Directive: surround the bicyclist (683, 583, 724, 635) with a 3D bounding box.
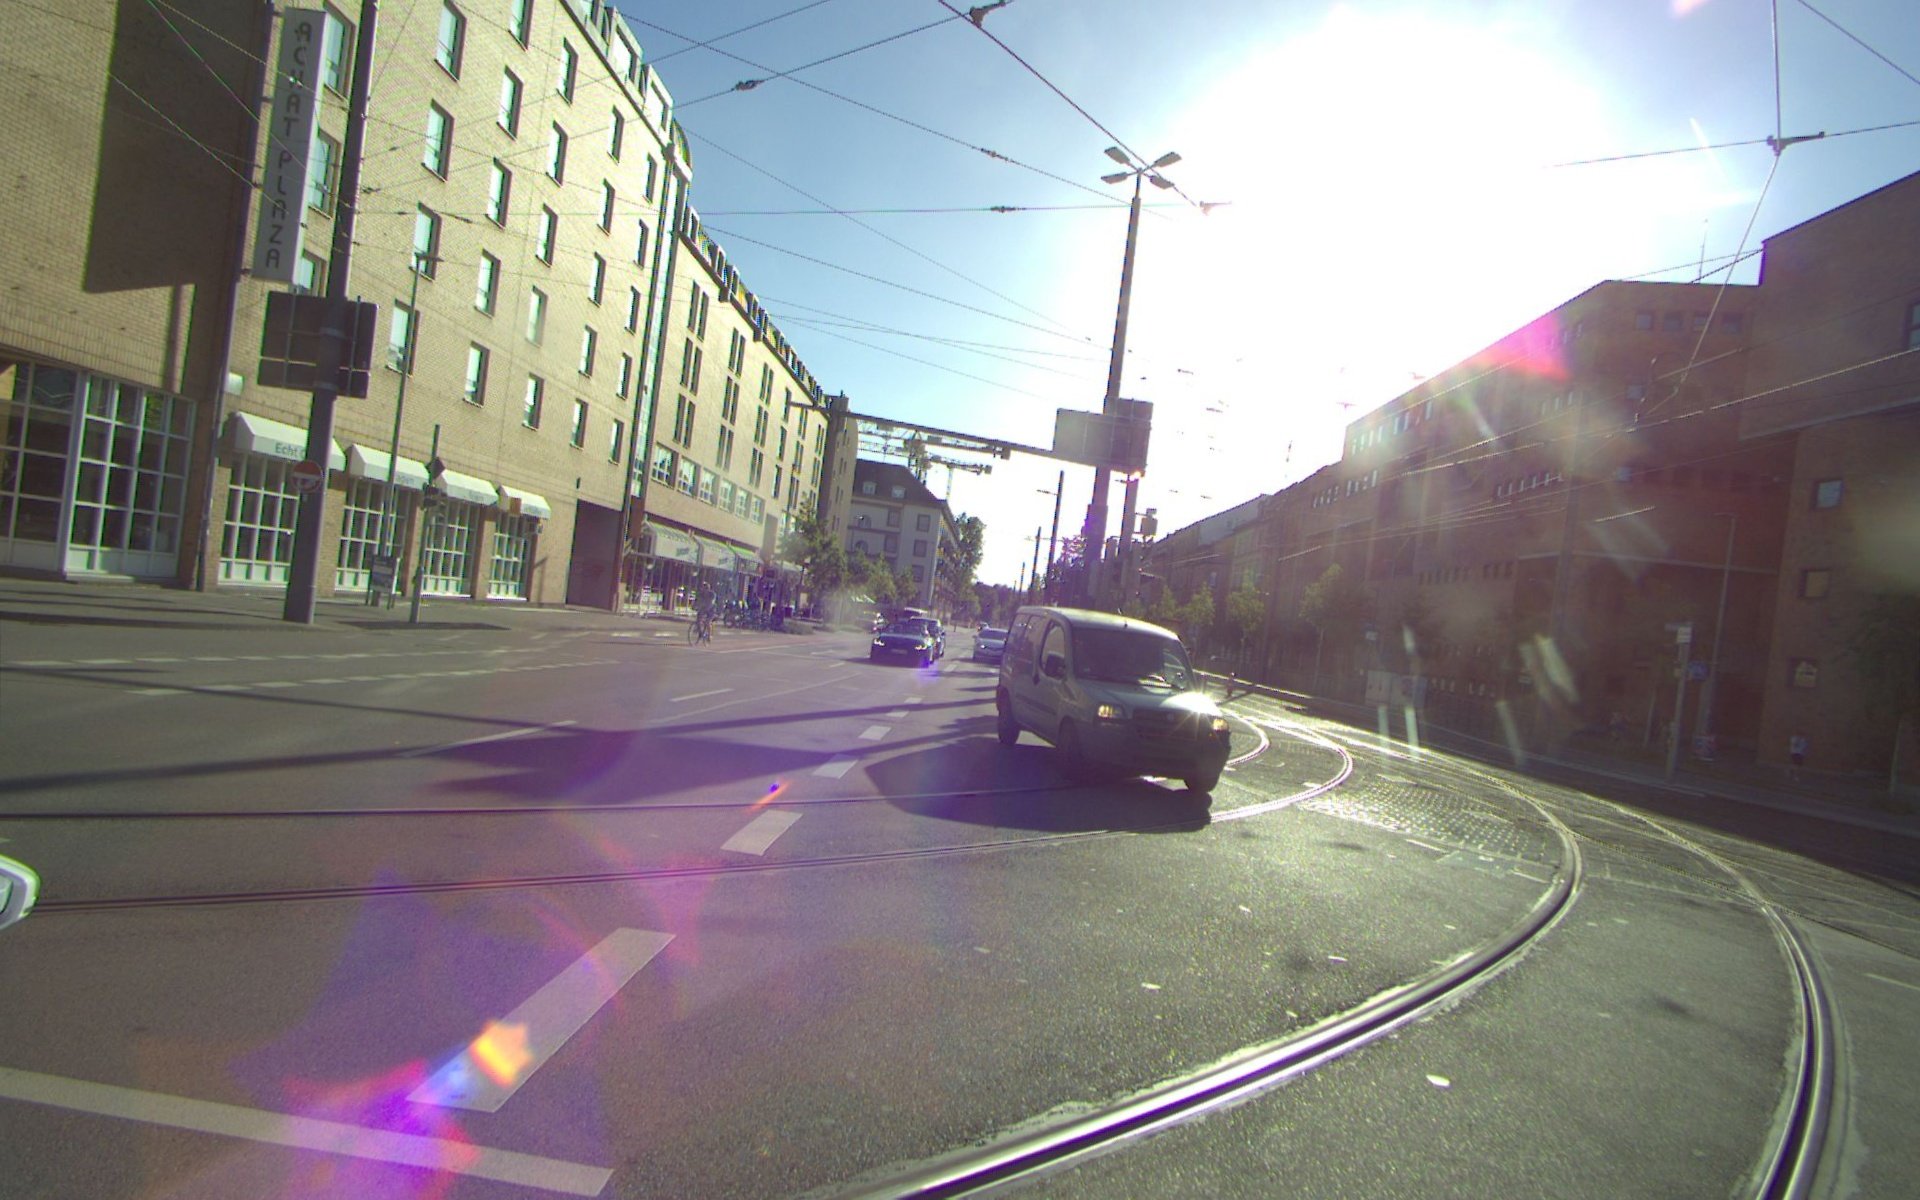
[{"bbox_3d":[-7.403,0.257,29.048,0.797,1.393,0.926,7,0,1],"label":"bicyclist"}]

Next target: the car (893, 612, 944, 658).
[{"bbox_3d":[-1.675,1.441,41.986,1.810,1.631,4.232,6,-2,0],"label":"car"}]

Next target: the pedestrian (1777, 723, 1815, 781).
[{"bbox_3d":[28.333,5.153,34.095,0.539,1.809,0.573,7,2,5],"label":"pedestrian"}]

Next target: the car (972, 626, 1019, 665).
[{"bbox_3d":[1.515,1.970,43.996,1.810,1.465,4.301,6,-2,1],"label":"car"}]

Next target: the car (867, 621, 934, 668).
[{"bbox_3d":[-1.885,1.444,33.128,1.810,1.283,4.232,6,-2,0],"label":"car"}]

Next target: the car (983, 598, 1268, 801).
[{"bbox_3d":[1.708,1.019,11.922,1.815,1.858,4.100,6,-1,-12],"label":"car"}]

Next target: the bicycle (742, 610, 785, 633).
[{"bbox_3d":[-9.998,1.099,51.135,2.001,0.932,0.483,7,0,13],"label":"bicycle"}]

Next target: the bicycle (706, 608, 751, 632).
[{"bbox_3d":[-10.849,0.926,47.150,2.001,0.855,0.483,7,0,13],"label":"bicycle"}]

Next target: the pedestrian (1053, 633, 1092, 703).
[{"bbox_3d":[2.681,1.619,24.109,0.573,1.595,0.645,7,0,-11],"label":"pedestrian"}]

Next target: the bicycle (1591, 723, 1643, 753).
[{"bbox_3d":[27.511,5.772,42.177,0.638,0.915,2.347,7,-2,4],"label":"bicycle"}]

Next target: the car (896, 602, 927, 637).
[{"bbox_3d":[-4.730,1.857,98.741,2.341,3.035,8.470,7,-1,0],"label":"car"}]

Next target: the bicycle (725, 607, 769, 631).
[{"bbox_3d":[-10.600,0.964,50.056,2.001,0.932,0.483,7,0,13],"label":"bicycle"}]

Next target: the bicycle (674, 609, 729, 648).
[{"bbox_3d":[-7.466,0.831,29.163,0.797,1.002,2.510,7,-1,1],"label":"bicycle"}]

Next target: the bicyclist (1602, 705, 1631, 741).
[{"bbox_3d":[27.602,5.171,42.311,0.635,1.355,0.653,7,-1,3],"label":"bicyclist"}]

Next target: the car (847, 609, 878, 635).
[{"bbox_3d":[-7.779,1.764,80.638,1.810,1.857,4.110,6,-2,2],"label":"car"}]

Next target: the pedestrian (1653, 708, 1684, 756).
[{"bbox_3d":[29.019,5.404,41.199,0.630,1.807,0.689,7,0,5],"label":"pedestrian"}]

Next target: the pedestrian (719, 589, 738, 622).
[{"bbox_3d":[-13.021,0.332,56.678,0.705,1.785,0.566,6,0,5],"label":"pedestrian"}]

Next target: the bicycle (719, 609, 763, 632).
[{"bbox_3d":[-10.603,0.991,48.685,2.001,0.855,0.483,7,0,13],"label":"bicycle"}]
